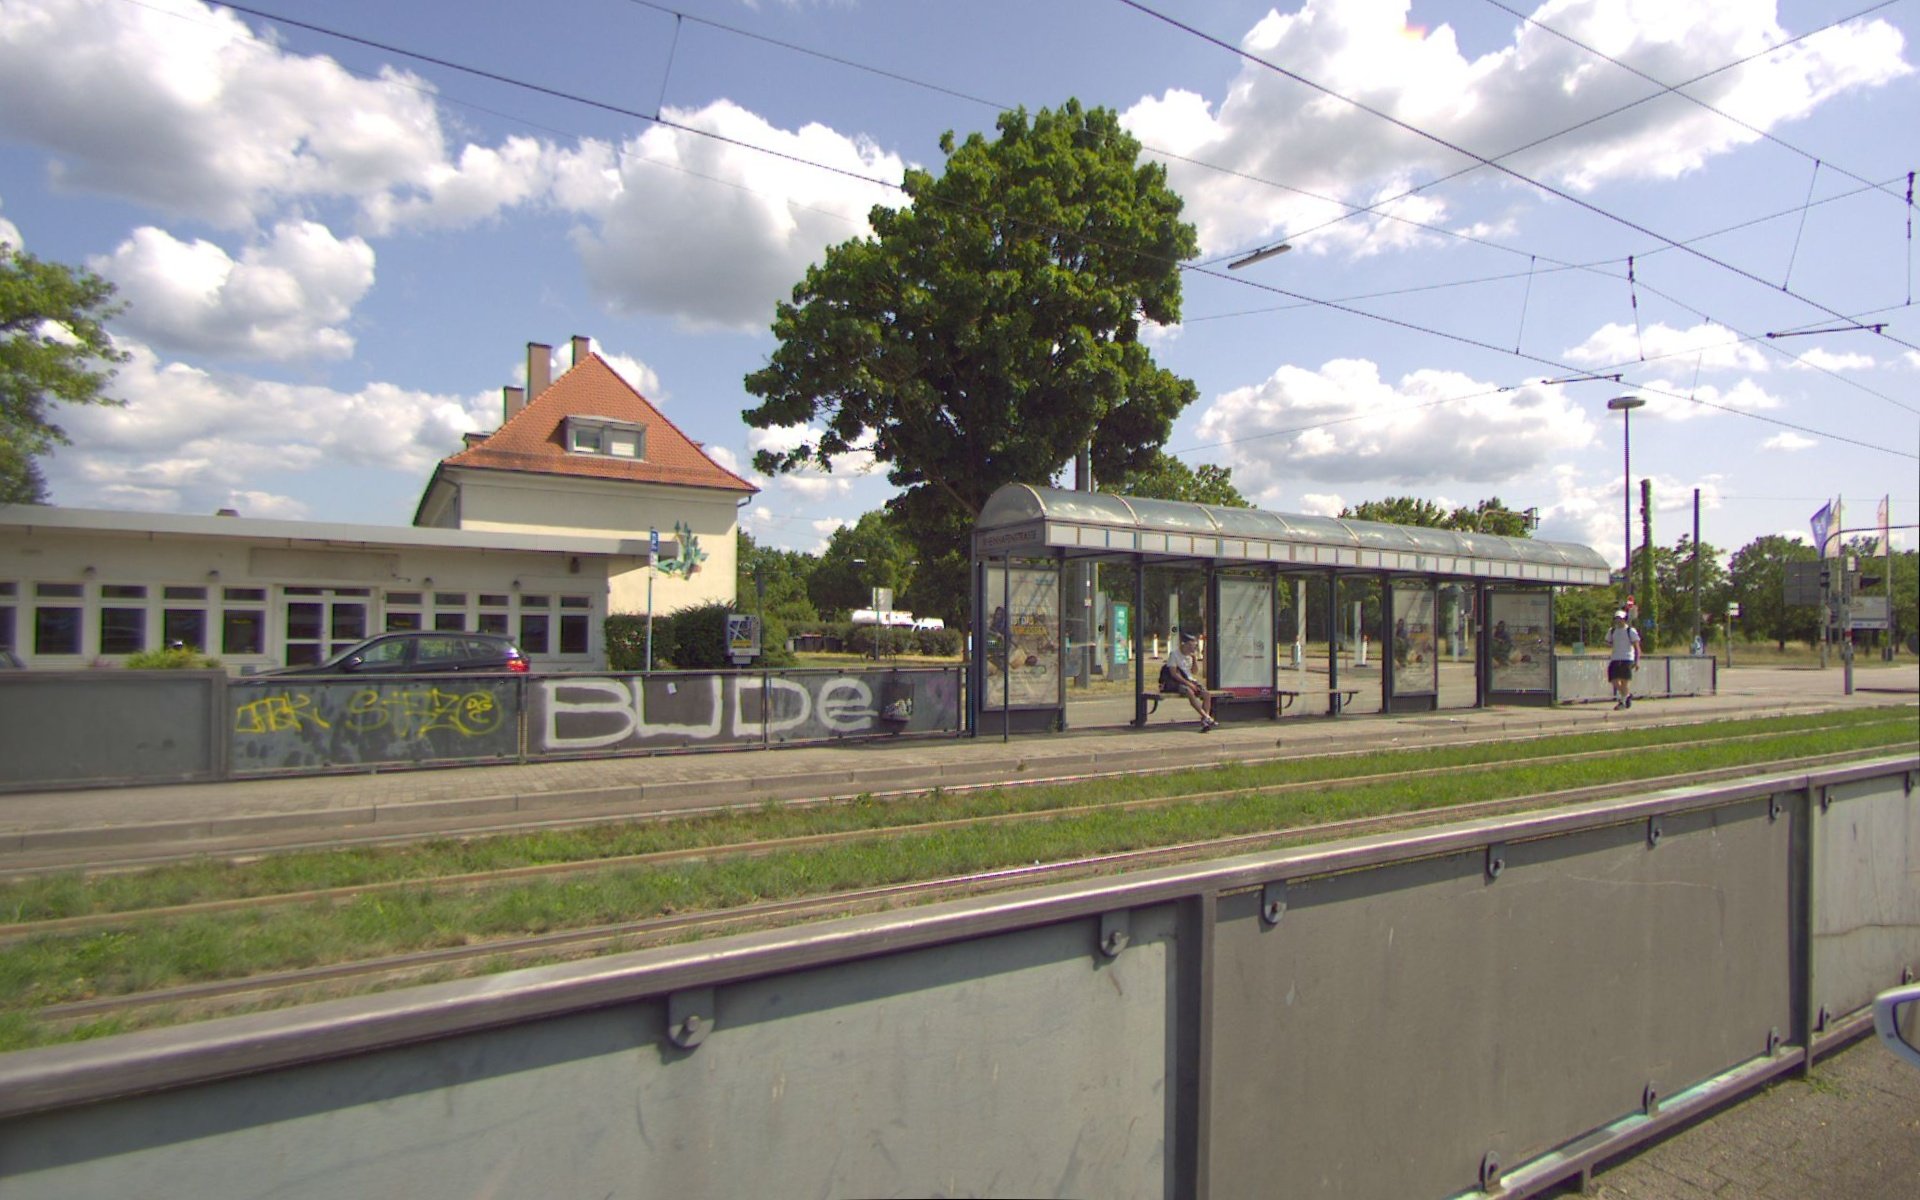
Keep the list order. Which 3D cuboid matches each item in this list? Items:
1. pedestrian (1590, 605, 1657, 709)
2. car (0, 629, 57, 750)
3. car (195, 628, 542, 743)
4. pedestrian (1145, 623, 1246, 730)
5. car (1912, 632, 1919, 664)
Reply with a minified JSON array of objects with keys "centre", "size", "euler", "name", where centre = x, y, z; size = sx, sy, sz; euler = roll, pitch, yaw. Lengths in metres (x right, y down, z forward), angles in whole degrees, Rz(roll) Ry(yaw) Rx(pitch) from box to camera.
[{"centre":[12.027,1.016,18.212],"size":[0.701,1.819,0.803],"euler":[1,-1,-33],"name":"pedestrian"},{"centre":[-14.893,1.187,13.386],"size":[3.882,1.605,1.779],"euler":[1,-1,-29],"name":"car"},{"centre":[-9.661,1.303,16.647],"size":[4.708,1.635,2.046],"euler":[2,-2,-36],"name":"car"},{"centre":[3.247,1.029,13.901],"size":[0.850,1.394,1.053],"euler":[2,0,-30],"name":"pedestrian"},{"centre":[52.754,2.604,53.738],"size":[3.960,1.673,1.850],"euler":[2,-1,-35],"name":"car"}]
